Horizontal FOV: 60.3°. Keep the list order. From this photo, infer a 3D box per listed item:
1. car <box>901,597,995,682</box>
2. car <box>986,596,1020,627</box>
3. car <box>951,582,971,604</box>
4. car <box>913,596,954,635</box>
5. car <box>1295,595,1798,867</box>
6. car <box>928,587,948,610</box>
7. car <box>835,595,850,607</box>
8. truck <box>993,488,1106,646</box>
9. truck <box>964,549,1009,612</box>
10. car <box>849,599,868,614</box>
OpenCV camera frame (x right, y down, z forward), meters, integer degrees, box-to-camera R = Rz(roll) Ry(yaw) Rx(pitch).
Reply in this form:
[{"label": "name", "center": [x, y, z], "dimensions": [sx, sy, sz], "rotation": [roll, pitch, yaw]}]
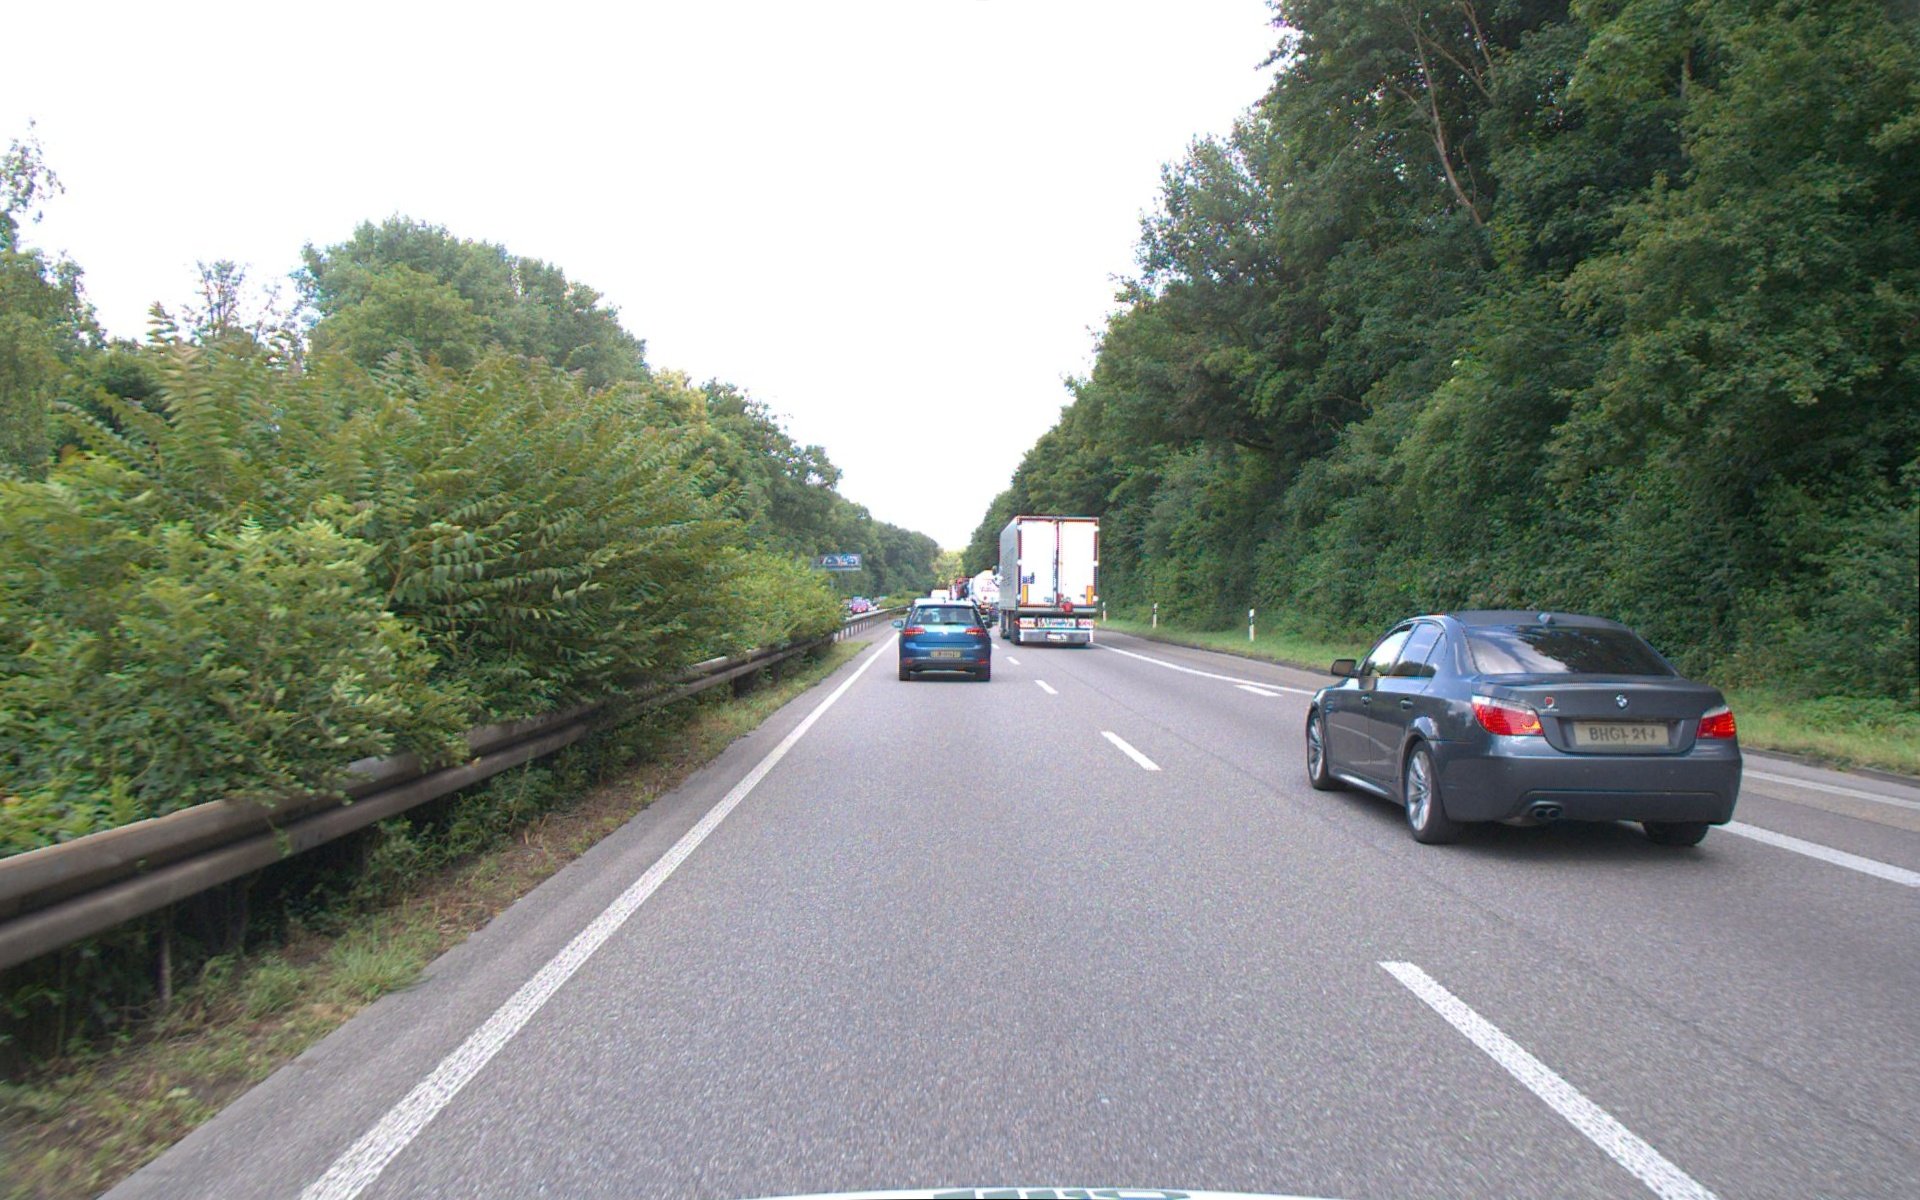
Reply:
[{"label": "car", "center": [-0.262, 0.708, 31.617], "dimensions": [1.670, 1.495, 3.999], "rotation": [1, 0, -1]}, {"label": "car", "center": [2.518, 0.657, 97.354], "dimensions": [1.850, 1.759, 3.999], "rotation": [-1, 0, -1]}, {"label": "car", "center": [0.064, -0.811, 184.367], "dimensions": [1.954, 2.368, 4.439], "rotation": [-1, 0, -3]}, {"label": "car", "center": [-1.064, 0.625, 68.396], "dimensions": [1.631, 1.526, 4.151], "rotation": [0, 0, -1]}, {"label": "car", "center": [3.794, 0.735, 11.731], "dimensions": [1.738, 1.501, 4.879], "rotation": [1, 0, -1]}, {"label": "car", "center": [-2.304, -0.179, 172.581], "dimensions": [1.954, 2.294, 4.439], "rotation": [-1, 0, -3]}, {"label": "car", "center": [-15.602, 0.175, 219.450], "dimensions": [1.646, 1.546, 4.858], "rotation": [-1, 0, -1]}, {"label": "truck", "center": [2.844, -1.049, 56.271], "dimensions": [3.175, 4.798, 11.006], "rotation": [-1, 0, 0]}, {"label": "truck", "center": [1.925, -1.321, 124.562], "dimensions": [3.166, 4.463, 12.969], "rotation": [0, -1, 0]}, {"label": "car", "center": [-10.439, 0.653, 170.536], "dimensions": [1.644, 1.480, 4.127], "rotation": [-1, 0, 0]}]
